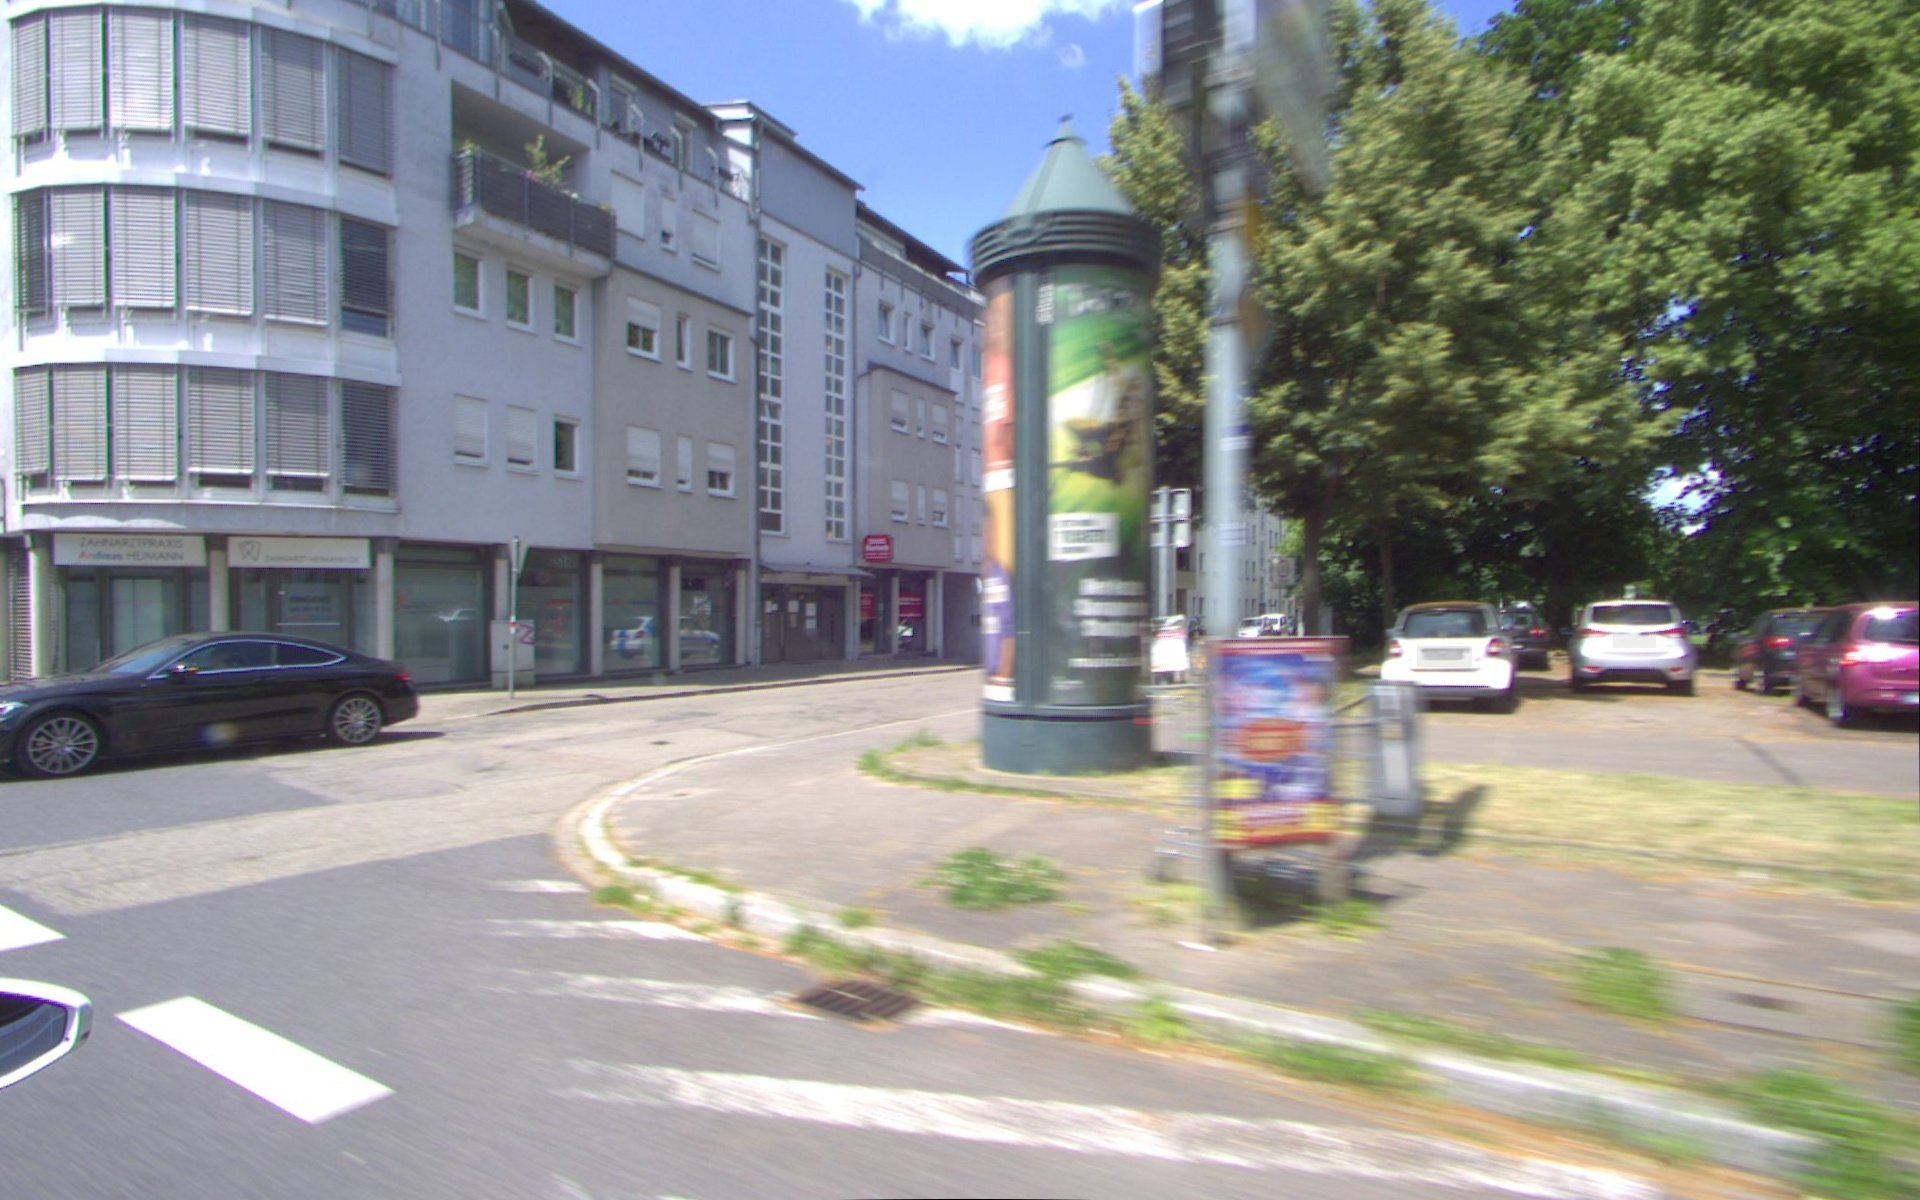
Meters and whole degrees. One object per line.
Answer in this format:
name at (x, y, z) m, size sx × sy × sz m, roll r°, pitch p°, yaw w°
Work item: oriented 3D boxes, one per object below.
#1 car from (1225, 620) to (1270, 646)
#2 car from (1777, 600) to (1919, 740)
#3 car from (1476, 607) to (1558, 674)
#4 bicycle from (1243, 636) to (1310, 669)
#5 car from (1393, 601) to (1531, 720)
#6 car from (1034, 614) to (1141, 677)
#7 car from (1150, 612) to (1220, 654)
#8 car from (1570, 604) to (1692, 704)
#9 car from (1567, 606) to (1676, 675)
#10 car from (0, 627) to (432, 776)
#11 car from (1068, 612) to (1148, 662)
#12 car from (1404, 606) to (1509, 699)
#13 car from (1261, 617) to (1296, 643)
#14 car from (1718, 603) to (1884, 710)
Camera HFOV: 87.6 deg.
car at (17.130, 1.953, 59.492) m, size 1.604 × 1.454 × 3.988 m, roll -2°, pitch -2°, yaw 30°
car at (11.914, 0.788, 12.795) m, size 1.656 × 1.548 × 3.981 m, roll -1°, pitch 0°, yaw 30°
car at (15.336, 1.068, 27.578) m, size 1.843 × 1.715 × 3.982 m, roll 0°, pitch -1°, yaw 30°
bicycle at (9.965, 1.668, 31.603) m, size 0.697 × 0.812 × 1.910 m, roll 0°, pitch -9°, yaw -37°
car at (7.850, 0.817, 15.475) m, size 1.656 × 1.574 × 3.981 m, roll -1°, pitch 0°, yaw 30°
car at (3.492, 1.189, 26.909) m, size 1.546 × 1.575 × 3.985 m, roll -1°, pitch -2°, yaw 28°
car at (9.978, 1.441, 44.131) m, size 1.604 × 1.757 × 4.777 m, roll -2°, pitch -2°, yaw 30°
car at (11.764, 0.878, 17.724) m, size 1.568 × 1.574 × 3.375 m, roll -1°, pitch 0°, yaw 30°
car at (17.445, 1.033, 26.340) m, size 1.701 × 1.689 × 3.768 m, roll -2°, pitch -2°, yaw 44°
car at (-8.862, 1.006, 11.559) m, size 1.970 × 1.383 × 4.576 m, roll 0°, pitch -1°, yaw 30°
car at (5.755, 1.417, 38.525) m, size 1.603 × 1.756 × 4.369 m, roll -4°, pitch -3°, yaw 28°
car at (9.438, 0.919, 18.948) m, size 1.568 × 1.574 × 3.058 m, roll -1°, pitch 0°, yaw 30°
car at (21.002, 1.978, 66.003) m, size 1.559 × 1.683 × 3.713 m, roll 0°, pitch -1°, yaw 29°
car at (13.892, 0.851, 16.725) m, size 1.568 × 1.574 × 3.375 m, roll -1°, pitch 0°, yaw 30°
